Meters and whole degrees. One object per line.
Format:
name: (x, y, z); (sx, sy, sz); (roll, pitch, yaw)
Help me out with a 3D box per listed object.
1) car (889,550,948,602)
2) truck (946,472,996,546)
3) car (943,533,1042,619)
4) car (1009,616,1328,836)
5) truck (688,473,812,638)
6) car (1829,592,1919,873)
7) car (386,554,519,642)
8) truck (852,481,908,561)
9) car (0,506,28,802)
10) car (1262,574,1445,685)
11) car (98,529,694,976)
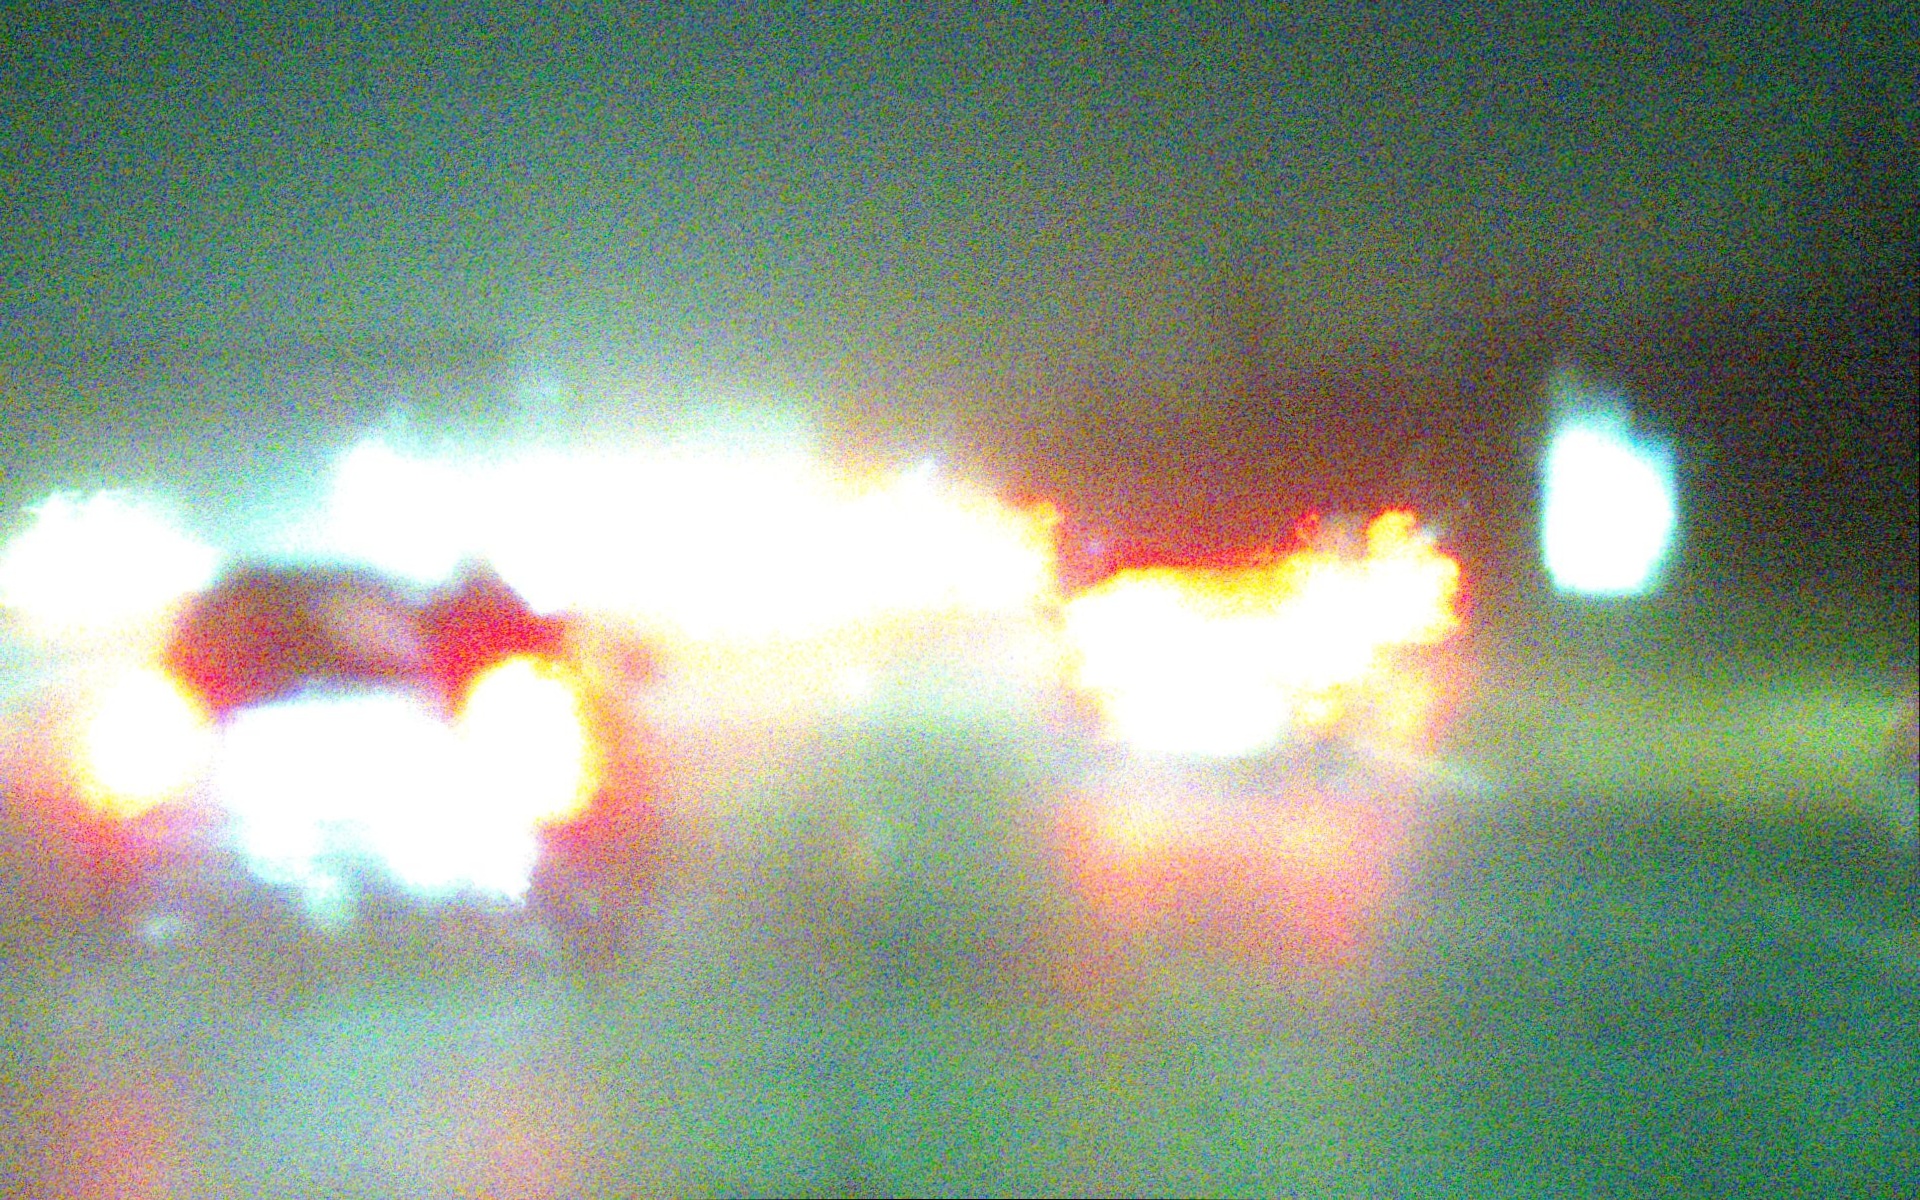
car: (-1.335, -0.789, 111.368); (1.863, 1.612, 4.000); (1, 1, 0)
truck: (0.455, -3.909, 149.379); (1.993, 3.032, 6.465); (-3, 1, 0)
car: (0.605, -0.490, 67.579); (1.863, 1.612, 4.000); (1, 1, 0)
car: (1.287, 0.776, 22.365); (1.580, 1.242, 3.069); (1, 1, -6)
truck: (-4.117, -0.887, 68.394); (1.993, 3.032, 6.465); (-3, 1, 0)
car: (5.144, 0.623, 15.138); (1.580, 1.242, 3.069); (1, 1, -6)
car: (-7.777, -0.048, 52.974); (1.662, 1.232, 3.762); (-3, 1, -4)
truck: (-3.171, -3.117, 137.172); (1.993, 3.032, 6.465); (-3, 1, 0)
car: (-5.871, 0.344, 16.096); (1.858, 1.535, 4.751); (0, 2, -2)
car: (4.763, 0.340, 41.980); (1.580, 1.242, 3.069); (1, 1, -6)
car: (-2.050, 0.475, 13.547); (1.801, 1.482, 4.001); (1, 1, -2)
